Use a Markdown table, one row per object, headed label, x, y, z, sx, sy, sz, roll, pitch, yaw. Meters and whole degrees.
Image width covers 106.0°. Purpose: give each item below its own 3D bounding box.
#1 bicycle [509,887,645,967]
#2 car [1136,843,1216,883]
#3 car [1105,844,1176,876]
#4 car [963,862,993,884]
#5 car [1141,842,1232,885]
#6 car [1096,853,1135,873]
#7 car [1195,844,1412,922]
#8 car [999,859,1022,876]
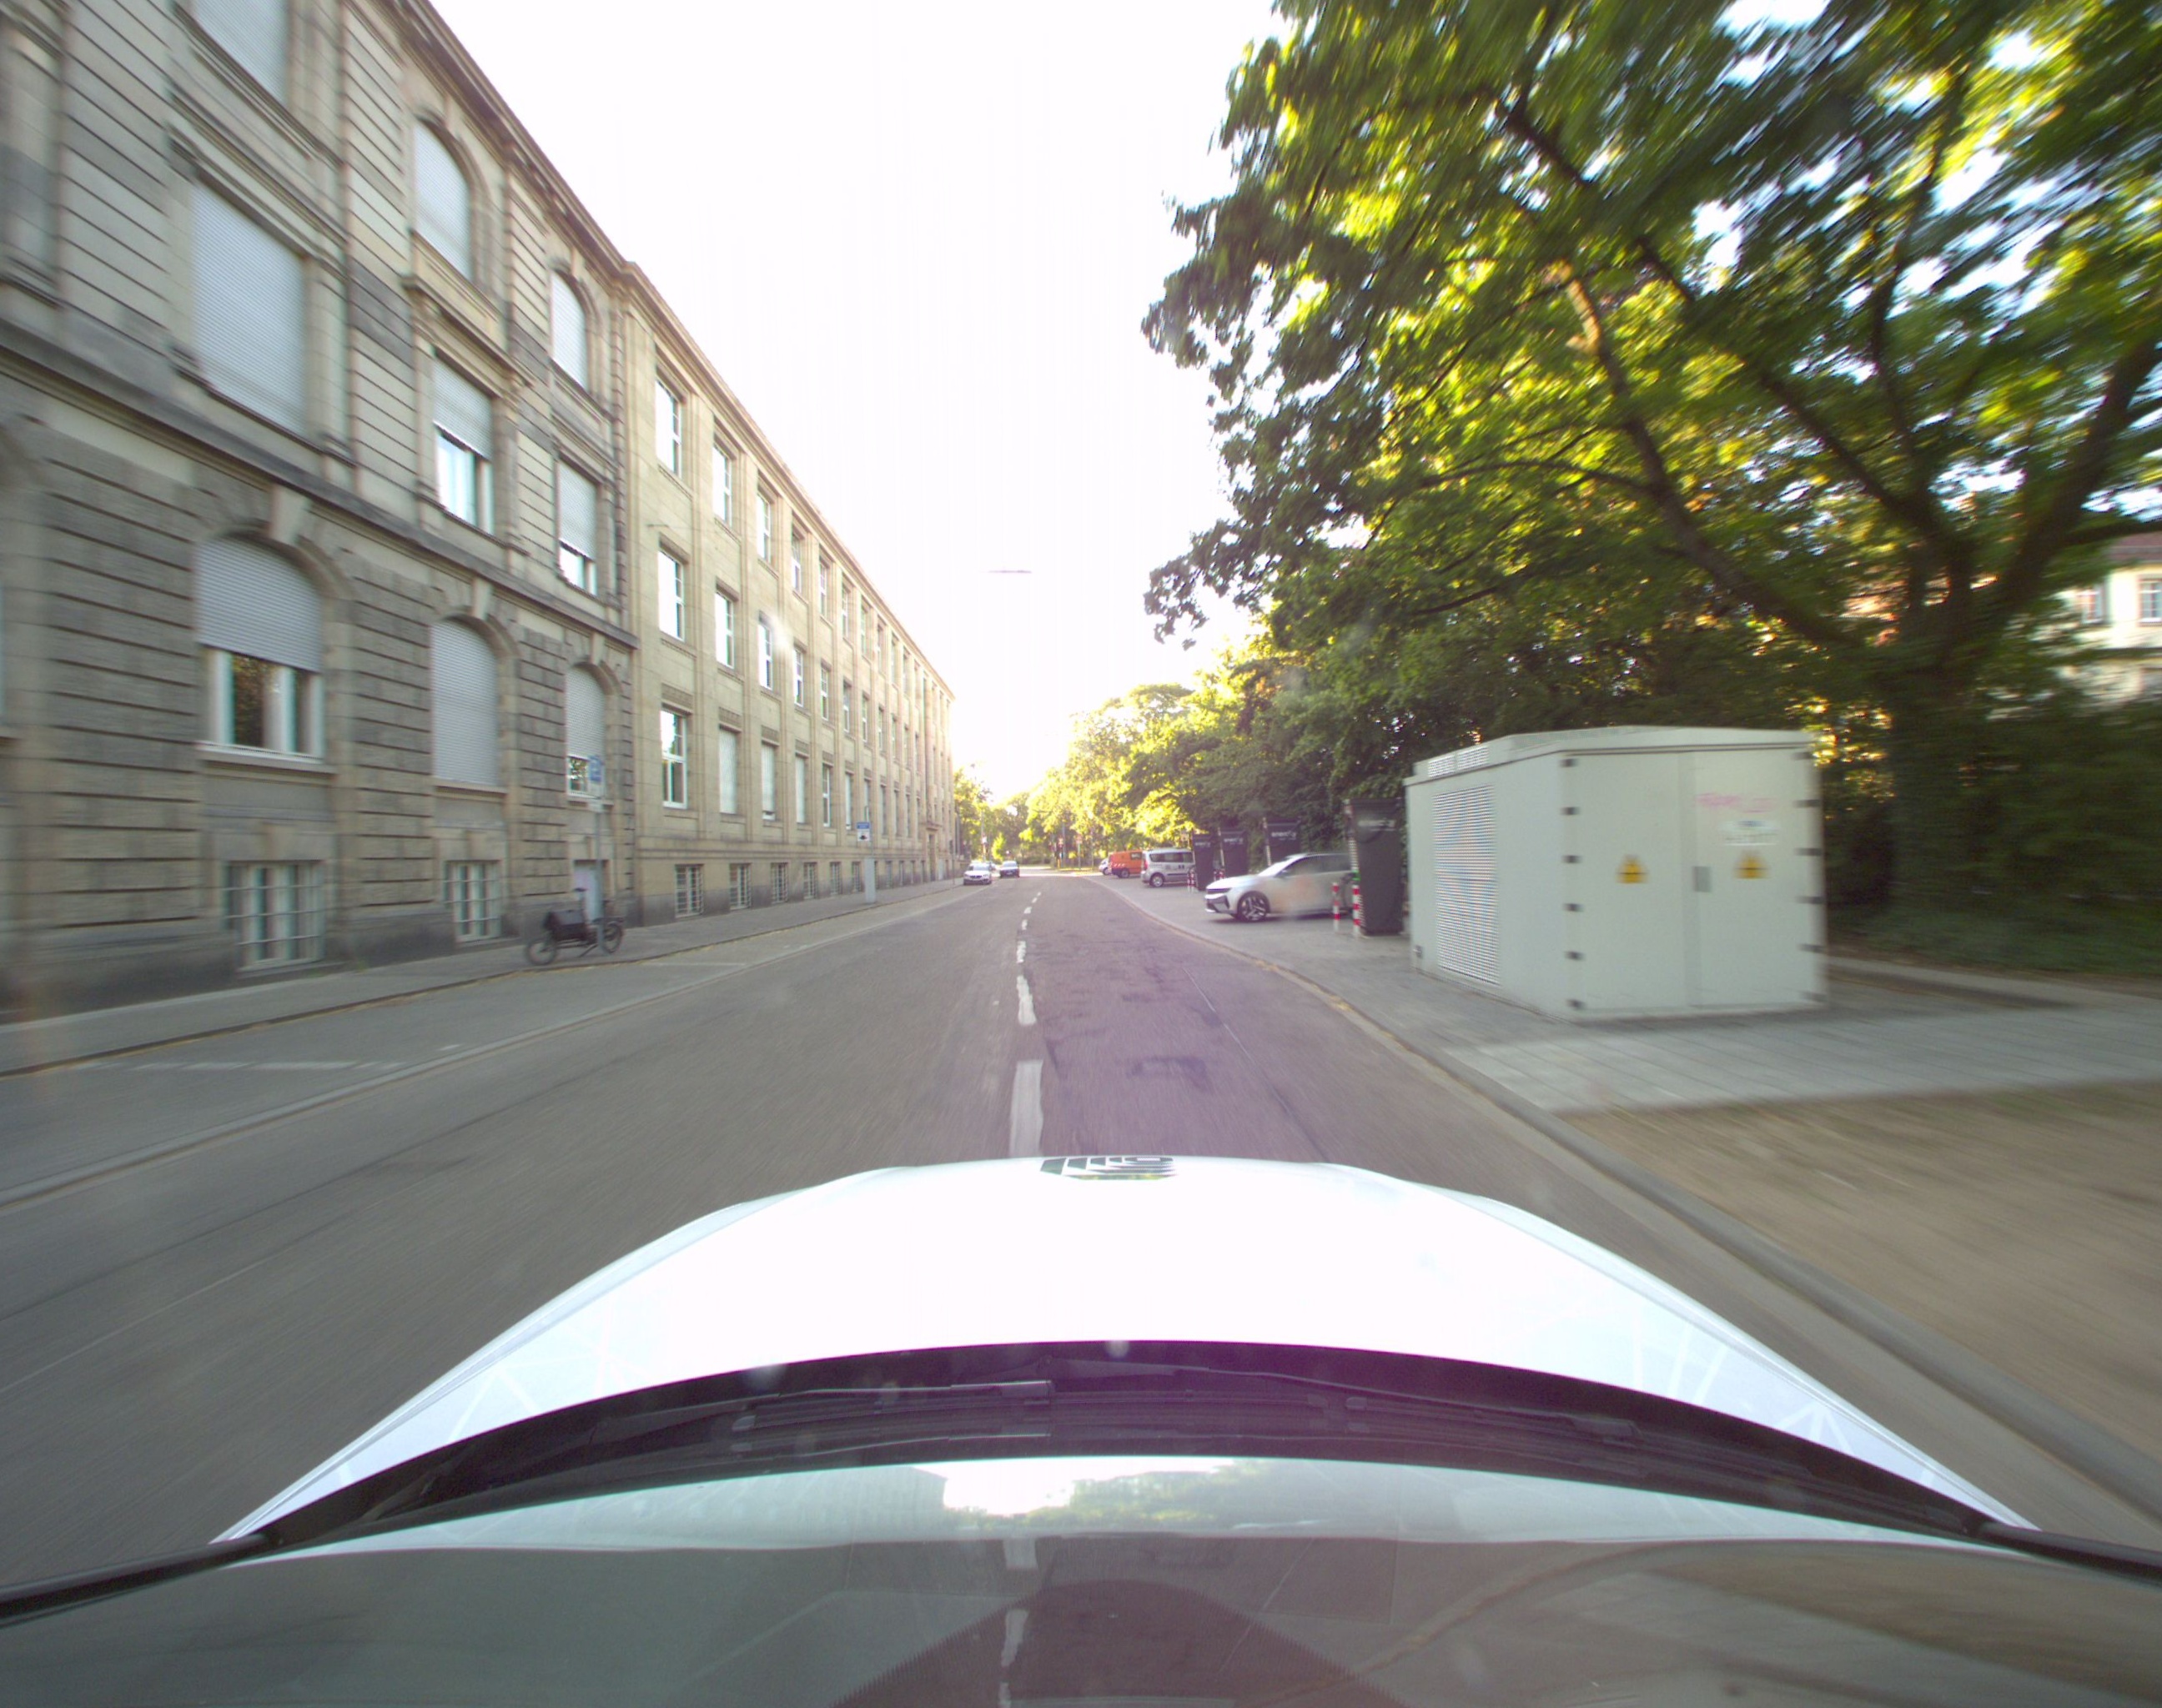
| label | x | y | z | sx | sy | sz | roll | pitch | yaw |
| --- | --- | --- | --- | --- | --- | --- | --- | --- | --- |
| bicycle | -7.990 | 1.116 | 13.035 | 0.849 | 1.101 | 1.984 | 0 | 0 | 3 |
| car | 5.004 | 0.478 | 43.363 | 4.011 | 1.835 | 1.614 | -3 | 0 | 0 |
| car | 4.362 | 0.467 | 59.987 | 4.815 | 2.013 | 1.797 | -4 | 0 | -8 |
| car | -7.101 | 1.291 | 56.403 | 1.724 | 1.397 | 4.367 | -2 | 0 | -4 |
| car | 5.224 | 0.466 | 40.788 | 4.215 | 1.859 | 2.000 | -3 | -1 | 0 |
| car | 2.970 | 0.793 | 70.531 | 3.141 | 1.503 | 1.536 | -4 | 0 | -8 |
| car | 4.970 | 0.633 | 18.600 | 4.429 | 1.469 | 1.781 | -3 | 0 | -2 |
| car | -6.361 | 1.189 | 73.650 | 1.875 | 1.466 | 4.367 | -2 | 0 | -4 |
